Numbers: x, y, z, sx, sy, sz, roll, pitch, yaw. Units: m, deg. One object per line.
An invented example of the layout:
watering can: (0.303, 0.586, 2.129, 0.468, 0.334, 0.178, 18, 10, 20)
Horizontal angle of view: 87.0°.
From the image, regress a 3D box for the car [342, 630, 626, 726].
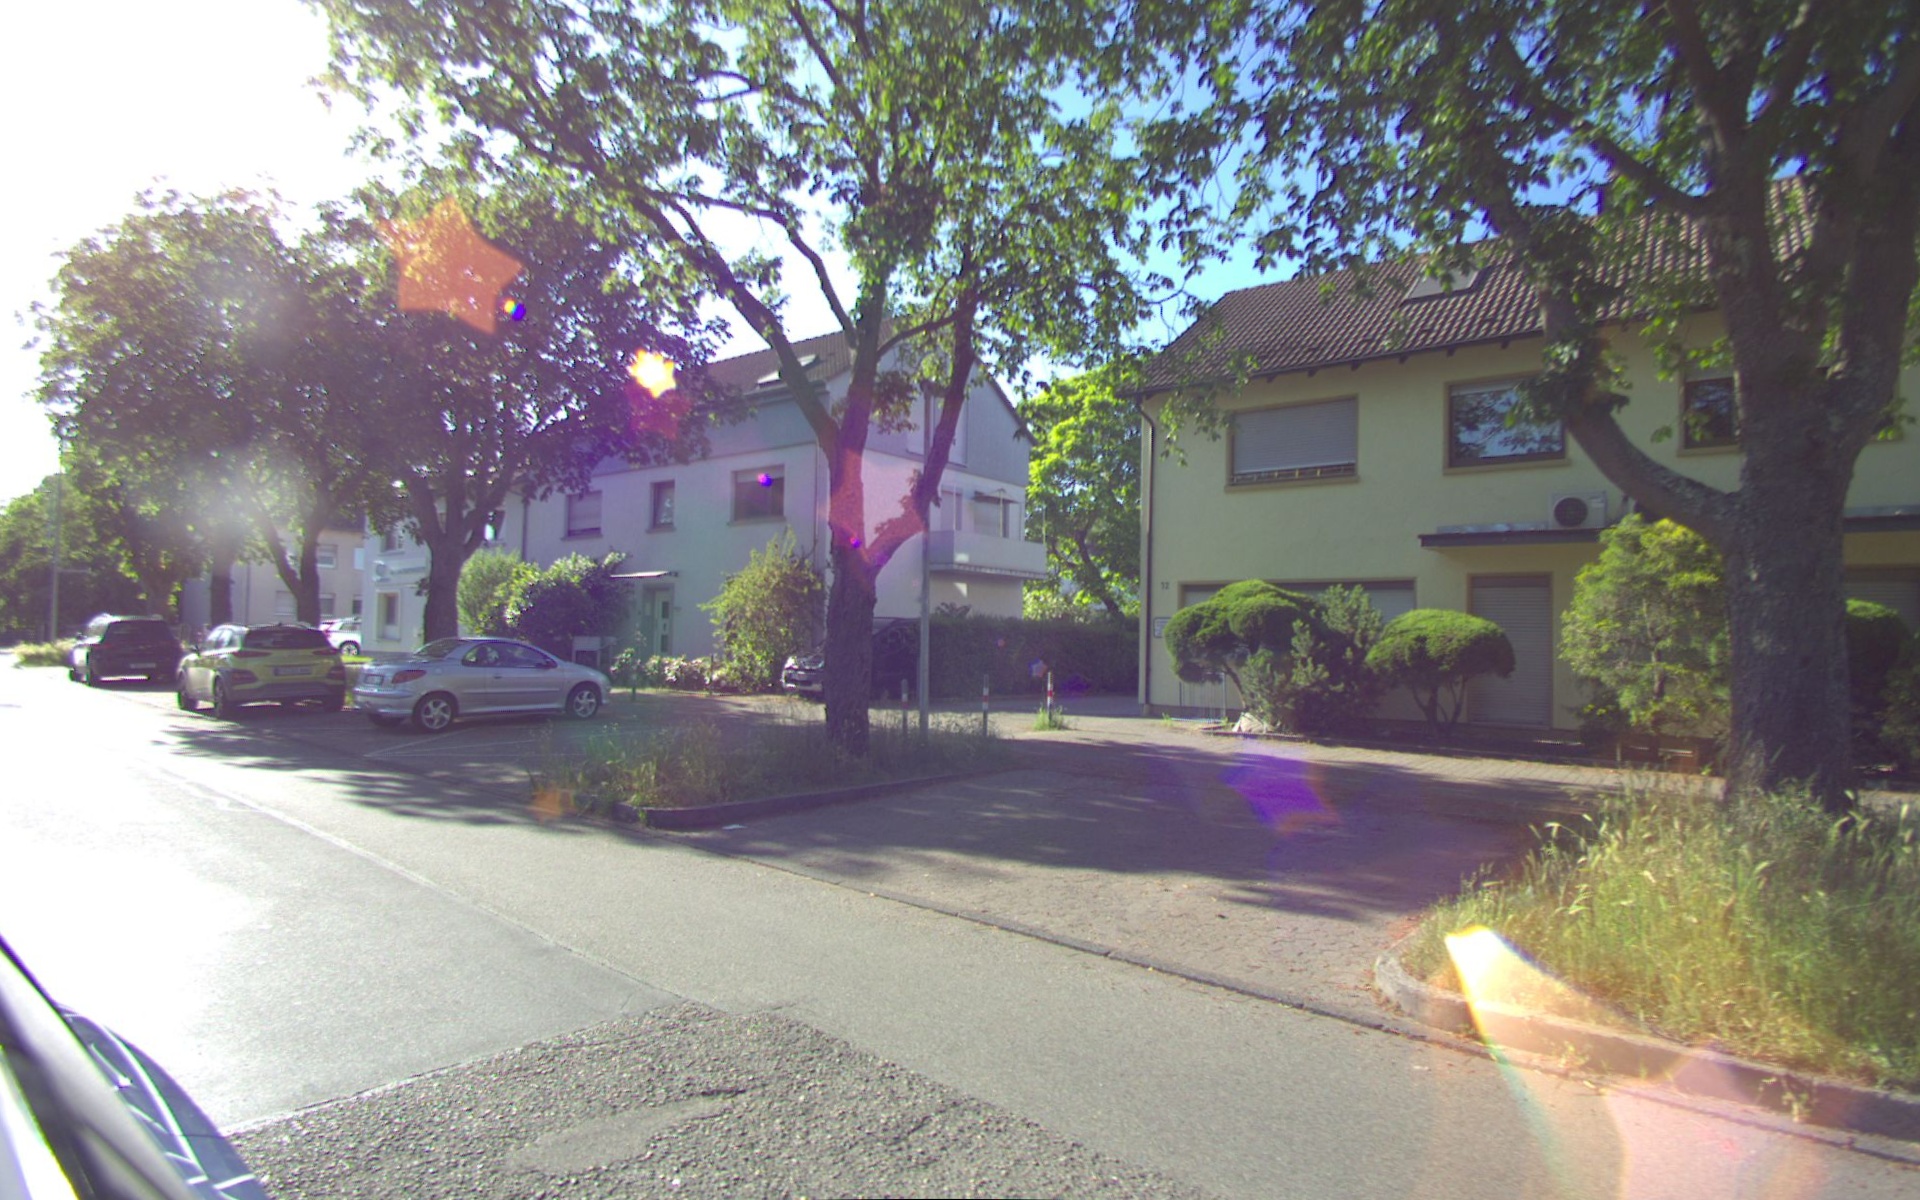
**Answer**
car: (-7.347, 1.145, 15.888, 1.610, 1.311, 3.726, -3, -3, 40)

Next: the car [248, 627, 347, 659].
car: (-32.956, 2.191, 50.423, 1.868, 1.490, 3.729, -4, -5, 39)

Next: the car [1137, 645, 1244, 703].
car: (6.445, 2.006, 27.985, 1.755, 1.475, 3.957, -1, -3, 31)

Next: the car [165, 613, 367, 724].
car: (-12.052, 1.065, 17.465, 4.383, 1.621, 1.918, 0, -1, 42)

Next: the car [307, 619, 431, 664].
car: (-26.709, 1.929, 45.864, 1.997, 1.852, 4.446, -5, -6, 38)

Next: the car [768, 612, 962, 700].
car: (-1.980, 1.192, 22.218, 1.996, 1.727, 4.196, -3, -3, 36)

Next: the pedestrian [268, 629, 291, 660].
pedestrian: (-34.361, 2.232, 51.085, 0.638, 1.565, 0.776, -3, -3, 37)

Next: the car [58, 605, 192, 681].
car: (-21.209, 1.105, 25.648, 4.874, 1.740, 1.932, -3, -3, 42)
